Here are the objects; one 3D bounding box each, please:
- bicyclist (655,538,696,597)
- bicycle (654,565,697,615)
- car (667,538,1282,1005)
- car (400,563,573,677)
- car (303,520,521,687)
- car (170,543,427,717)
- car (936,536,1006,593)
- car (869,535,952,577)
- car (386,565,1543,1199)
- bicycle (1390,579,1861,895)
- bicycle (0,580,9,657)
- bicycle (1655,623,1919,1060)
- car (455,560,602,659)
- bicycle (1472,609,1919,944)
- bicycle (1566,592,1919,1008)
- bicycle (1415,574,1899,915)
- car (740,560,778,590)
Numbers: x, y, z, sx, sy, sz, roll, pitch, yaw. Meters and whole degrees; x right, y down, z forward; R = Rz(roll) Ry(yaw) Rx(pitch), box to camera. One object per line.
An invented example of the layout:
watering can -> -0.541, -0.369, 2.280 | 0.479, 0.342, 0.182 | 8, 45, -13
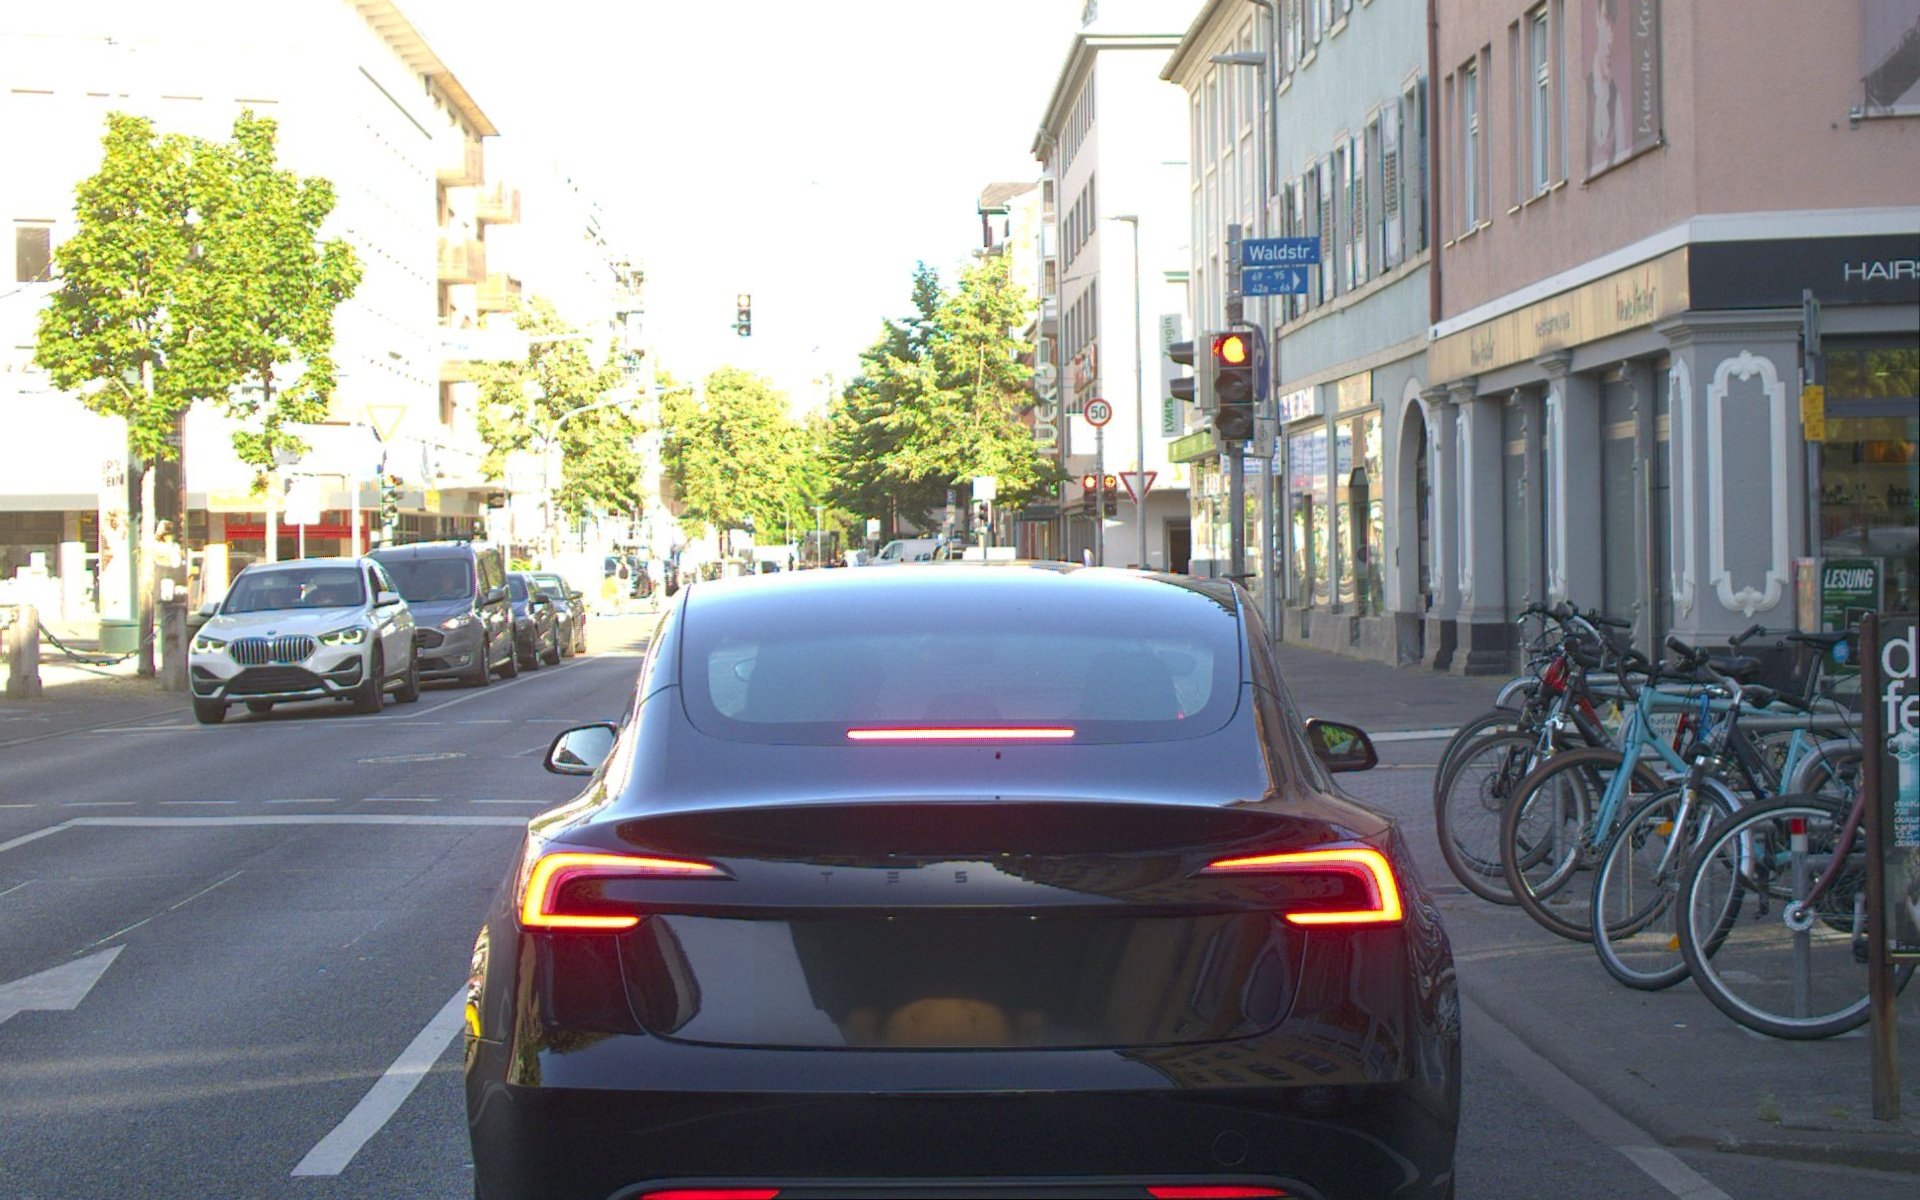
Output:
bicyclist -> -7.909, -0.906, 95.620 | 1.126, 1.623, 0.965 | 0, 1, -3
bicycle -> -7.891, -0.291, 95.536 | 1.111, 1.340, 4.001 | 0, 1, -3
car -> -0.020, 0.520, 13.214 | 1.993, 1.507, 4.176 | 0, 1, -2
car -> -6.745, 0.242, 49.438 | 1.993, 1.405, 4.675 | -4, 1, -3
car -> -6.715, -0.001, 42.610 | 1.834, 1.838, 4.674 | -4, 1, 0
car -> -6.694, 0.253, 35.214 | 1.807, 1.550, 4.310 | -4, 1, -1
car -> 0.304, -1.052, 100.650 | 1.993, 1.623, 4.000 | 0, 1, 0
car -> -2.414, -2.142, 167.559 | 3.986, 2.007, 2.000 | 0, 1, -2
car -> -0.012, 0.655, 7.506 | 1.848, 1.450, 4.000 | 0, 1, -1
bicycle -> 2.808, 0.570, 14.684 | 1.862, 1.253, 0.832 | -2, 1, 5
bicycle -> -15.711, 0.284, 52.237 | 2.323, 1.152, 0.843 | 0, 1, -5
bicycle -> 3.031, 0.670, 9.992 | 1.886, 1.189, 0.691 | -2, 1, 5
car -> -7.110, 0.125, 57.029 | 1.993, 1.431, 4.675 | -4, 1, -3
bicycle -> 2.805, 0.624, 12.475 | 1.798, 1.120, 0.781 | -2, 1, 5
bicycle -> 2.885, 0.621, 11.124 | 1.722, 1.263, 0.790 | -2, 1, 5
bicycle -> 2.738, 0.558, 13.654 | 1.746, 1.262, 0.781 | -2, 1, 3
car -> -10.934, -1.361, 187.081 | 1.993, 1.631, 4.001 | 0, 1, -3
